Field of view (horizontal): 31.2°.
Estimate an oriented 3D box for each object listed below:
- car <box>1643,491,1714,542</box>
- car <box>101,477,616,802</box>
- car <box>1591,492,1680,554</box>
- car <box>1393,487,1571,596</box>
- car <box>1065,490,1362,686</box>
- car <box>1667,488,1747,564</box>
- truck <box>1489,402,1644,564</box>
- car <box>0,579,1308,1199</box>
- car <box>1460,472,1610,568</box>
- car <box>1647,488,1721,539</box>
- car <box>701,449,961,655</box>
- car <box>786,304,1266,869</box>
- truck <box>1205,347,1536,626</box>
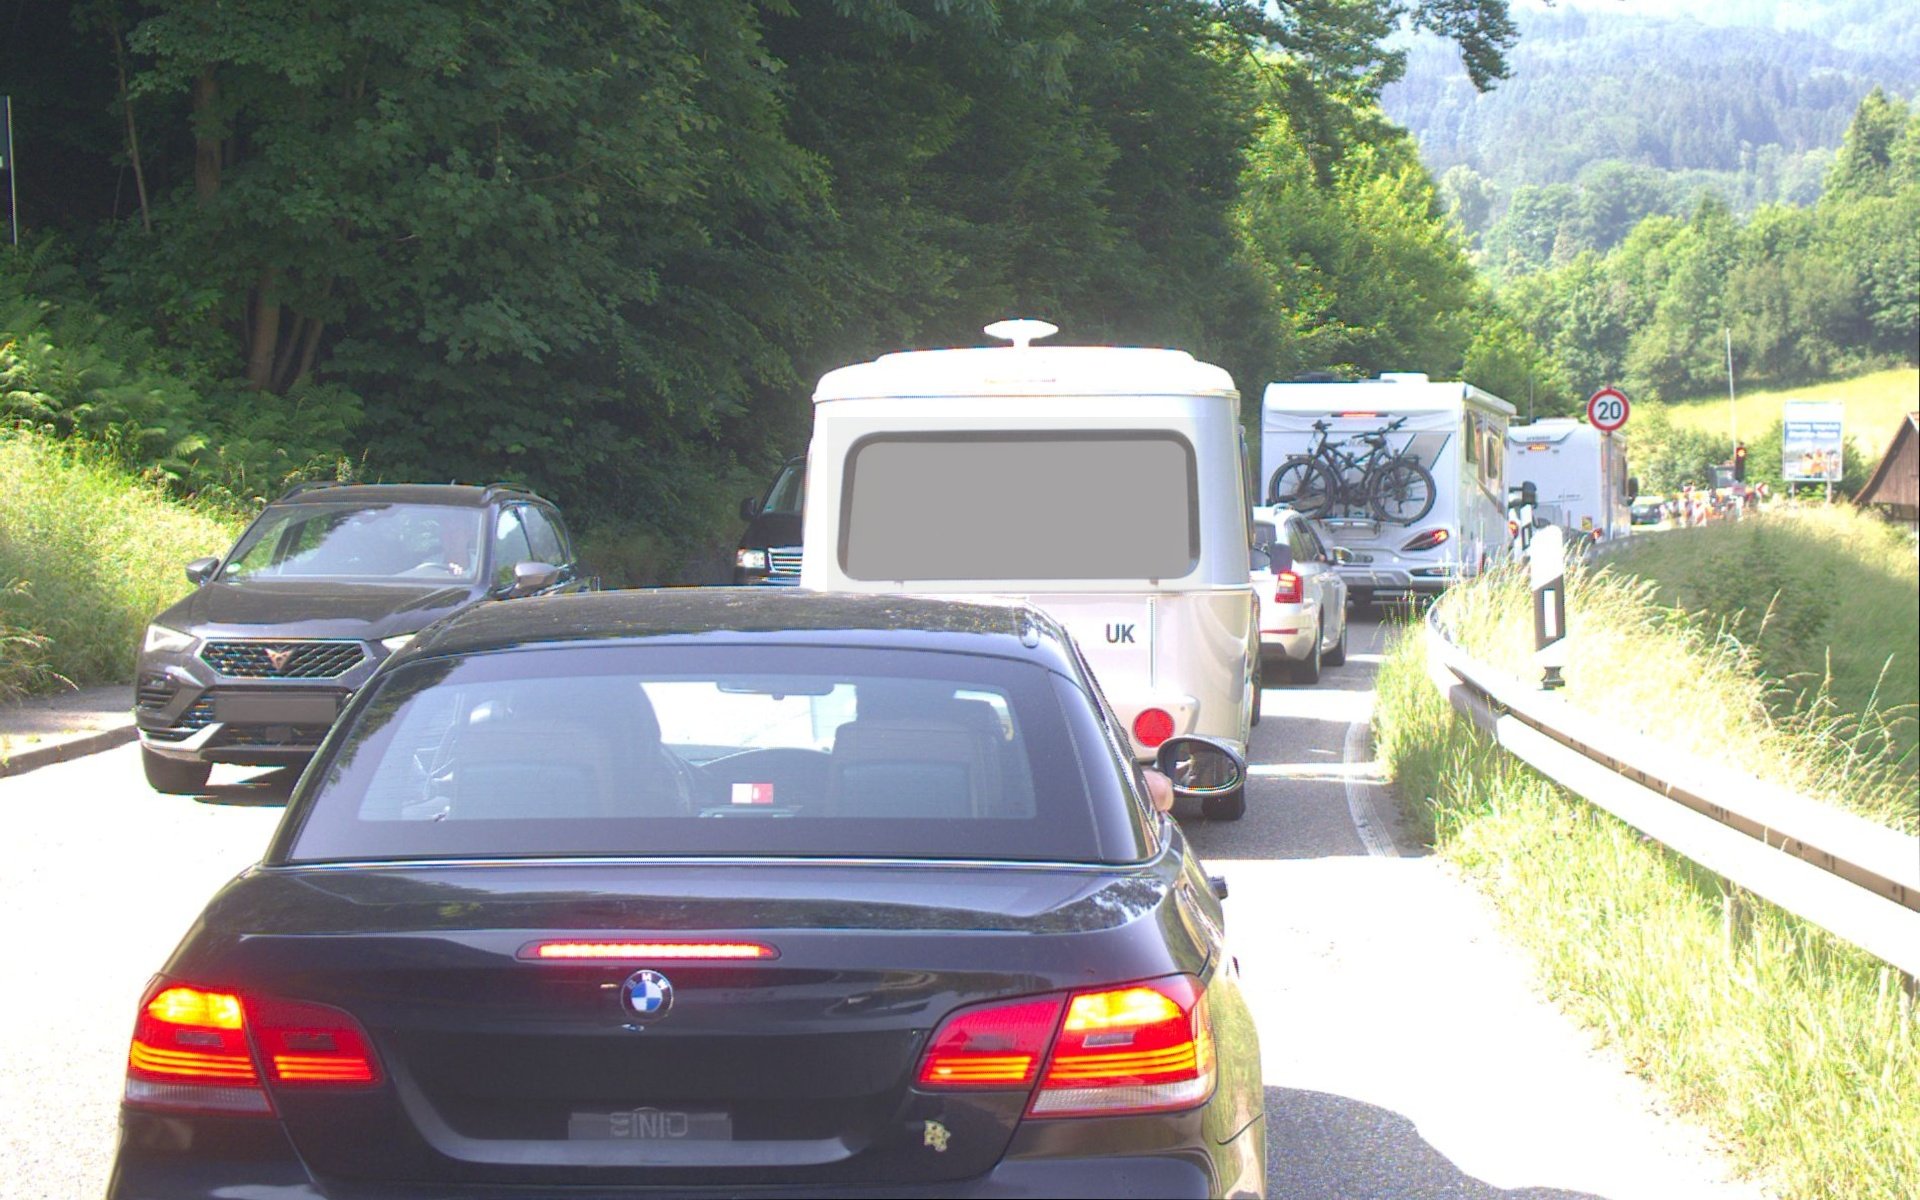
[{"bbox_3d":[25.404,-2.935,121.534,1.995,1.678,3.996,1,0,18],"label":"car"},{"bbox_3d":[-3.178,0.122,18.991,1.822,1.579,4.082,1,2,5],"label":"car"},{"bbox_3d":[16.740,-1.892,85.126,1.908,1.481,3.997,1,1,15],"label":"car"},{"bbox_3d":[7.752,-0.901,50.799,1.995,1.459,3.997,3,3,17],"label":"car"},{"bbox_3d":[2.220,-0.155,29.089,1.994,1.479,3.998,2,2,11],"label":"car"},{"bbox_3d":[20.544,-2.008,94.472,1.995,1.919,3.998,4,1,13],"label":"car"},{"bbox_3d":[11.136,-2.066,62.784,2.239,2.794,6.228,1,1,15],"label":"truck"},{"bbox_3d":[-0.364,0.674,6.340,1.771,1.331,3.767,0,2,2],"label":"car"},{"bbox_3d":[9.481,-1.346,56.470,1.789,1.459,3.997,3,3,18],"label":"car"},{"bbox_3d":[23.567,-2.805,111.829,1.995,1.570,3.997,1,1,17],"label":"car"},{"bbox_3d":[-1.173,-0.513,33.474,1.919,1.820,4.490,1,2,5],"label":"car"},{"bbox_3d":[0.461,-0.145,16.779,1.994,2.345,4.913,0,2,5],"label":"car"},{"bbox_3d":[5.067,-1.389,41.291,2.793,2.987,6.863,3,3,16],"label":"truck"}]
